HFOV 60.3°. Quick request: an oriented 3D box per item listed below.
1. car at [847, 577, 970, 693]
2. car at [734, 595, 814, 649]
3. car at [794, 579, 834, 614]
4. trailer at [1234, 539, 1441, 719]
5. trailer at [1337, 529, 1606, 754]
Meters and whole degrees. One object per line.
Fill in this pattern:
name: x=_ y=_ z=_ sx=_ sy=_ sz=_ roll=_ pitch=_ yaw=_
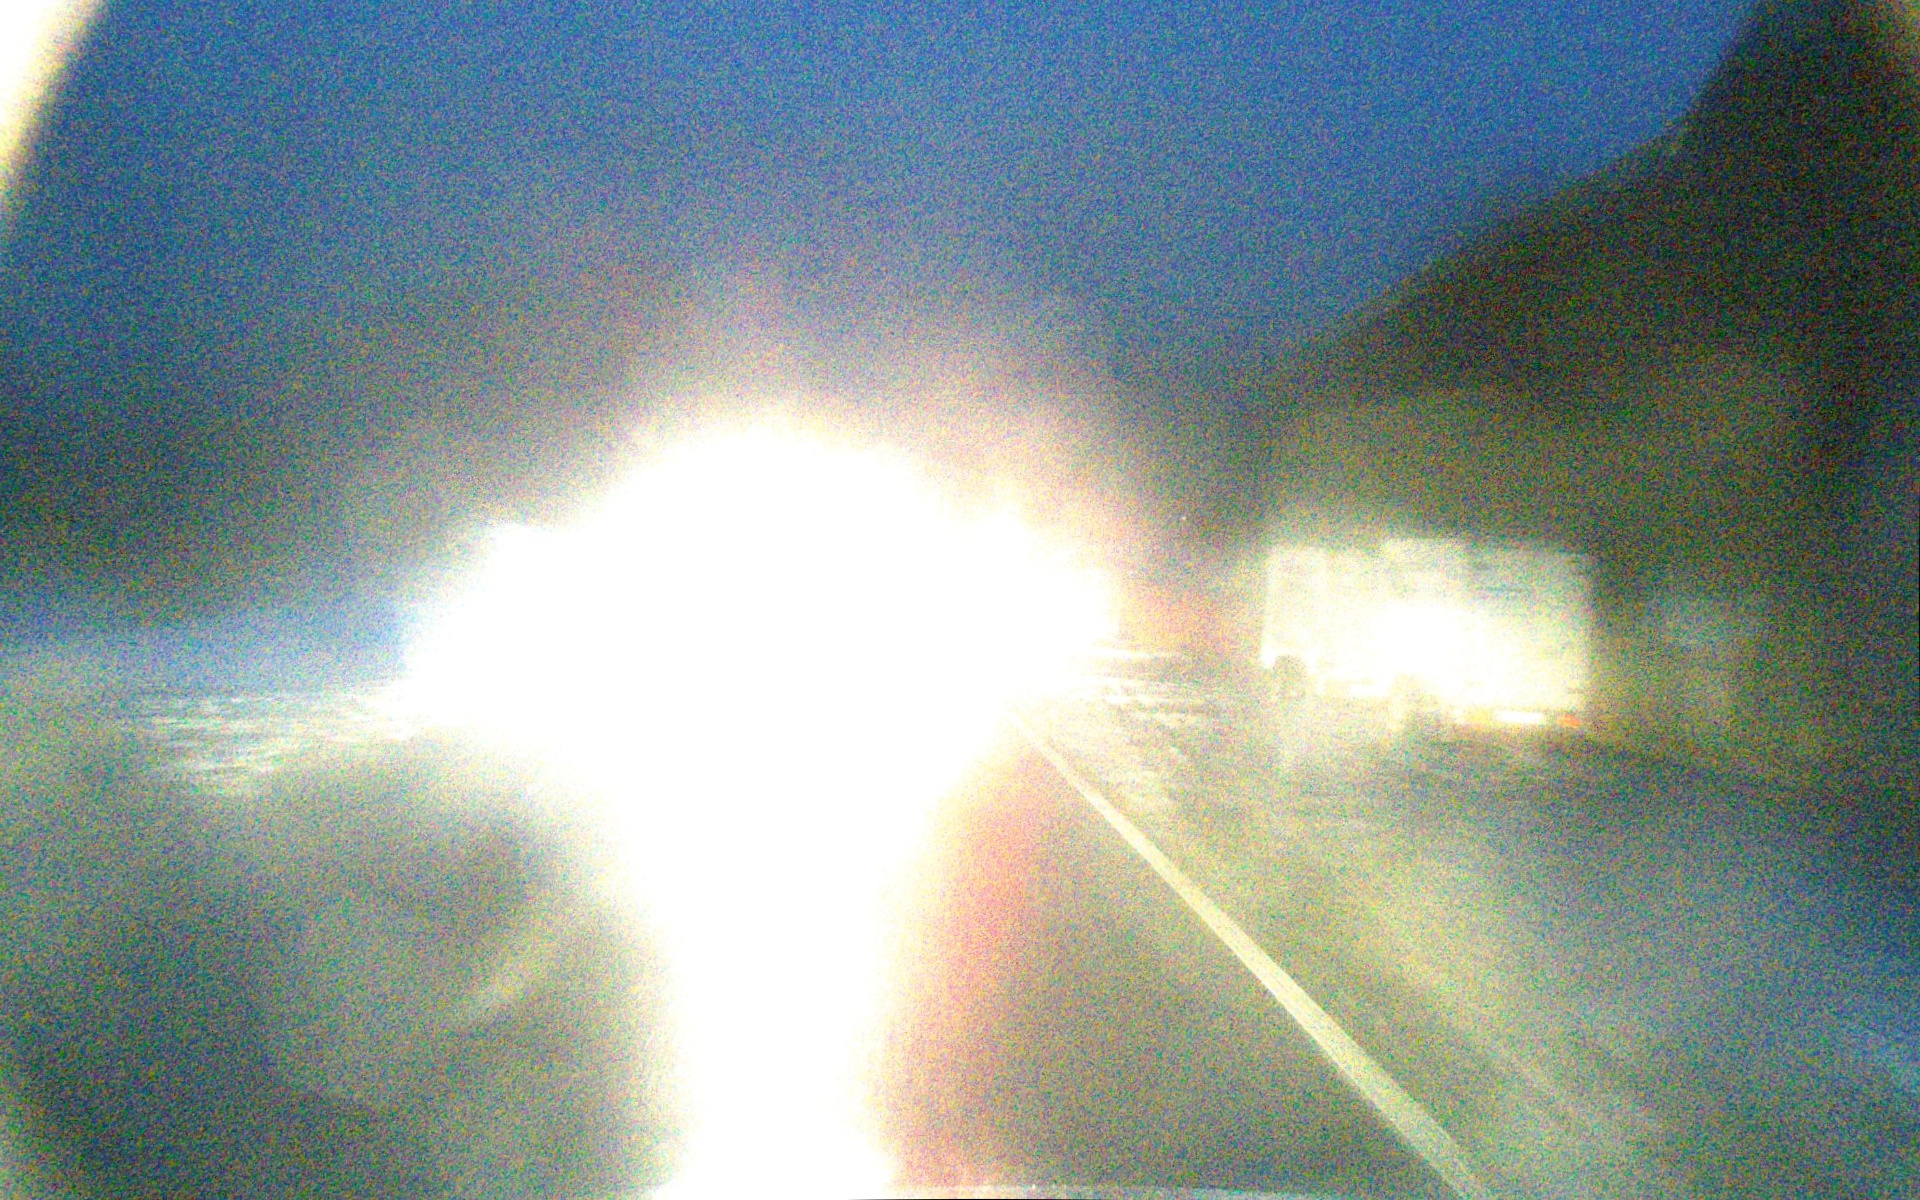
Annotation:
car: x=-0.875 y=0.509 z=26.565 sx=1.766 sy=1.657 sz=3.613 roll=3 pitch=0 yaw=-3
car: x=-5.443 y=0.621 z=48.928 sx=1.953 sy=1.485 sz=4.896 roll=1 pitch=0 yaw=-2
car: x=-7.010 y=-0.192 z=79.791 sx=1.766 sy=1.535 sz=3.612 roll=4 pitch=0 yaw=-4
trailer: x=5.686 y=0.385 z=25.520 sx=1.598 sy=2.405 sz=4.648 roll=5 pitch=0 yaw=-5
trailer: x=6.239 y=0.453 z=20.741 sx=1.574 sy=2.392 sz=4.427 roll=5 pitch=0 yaw=-4
